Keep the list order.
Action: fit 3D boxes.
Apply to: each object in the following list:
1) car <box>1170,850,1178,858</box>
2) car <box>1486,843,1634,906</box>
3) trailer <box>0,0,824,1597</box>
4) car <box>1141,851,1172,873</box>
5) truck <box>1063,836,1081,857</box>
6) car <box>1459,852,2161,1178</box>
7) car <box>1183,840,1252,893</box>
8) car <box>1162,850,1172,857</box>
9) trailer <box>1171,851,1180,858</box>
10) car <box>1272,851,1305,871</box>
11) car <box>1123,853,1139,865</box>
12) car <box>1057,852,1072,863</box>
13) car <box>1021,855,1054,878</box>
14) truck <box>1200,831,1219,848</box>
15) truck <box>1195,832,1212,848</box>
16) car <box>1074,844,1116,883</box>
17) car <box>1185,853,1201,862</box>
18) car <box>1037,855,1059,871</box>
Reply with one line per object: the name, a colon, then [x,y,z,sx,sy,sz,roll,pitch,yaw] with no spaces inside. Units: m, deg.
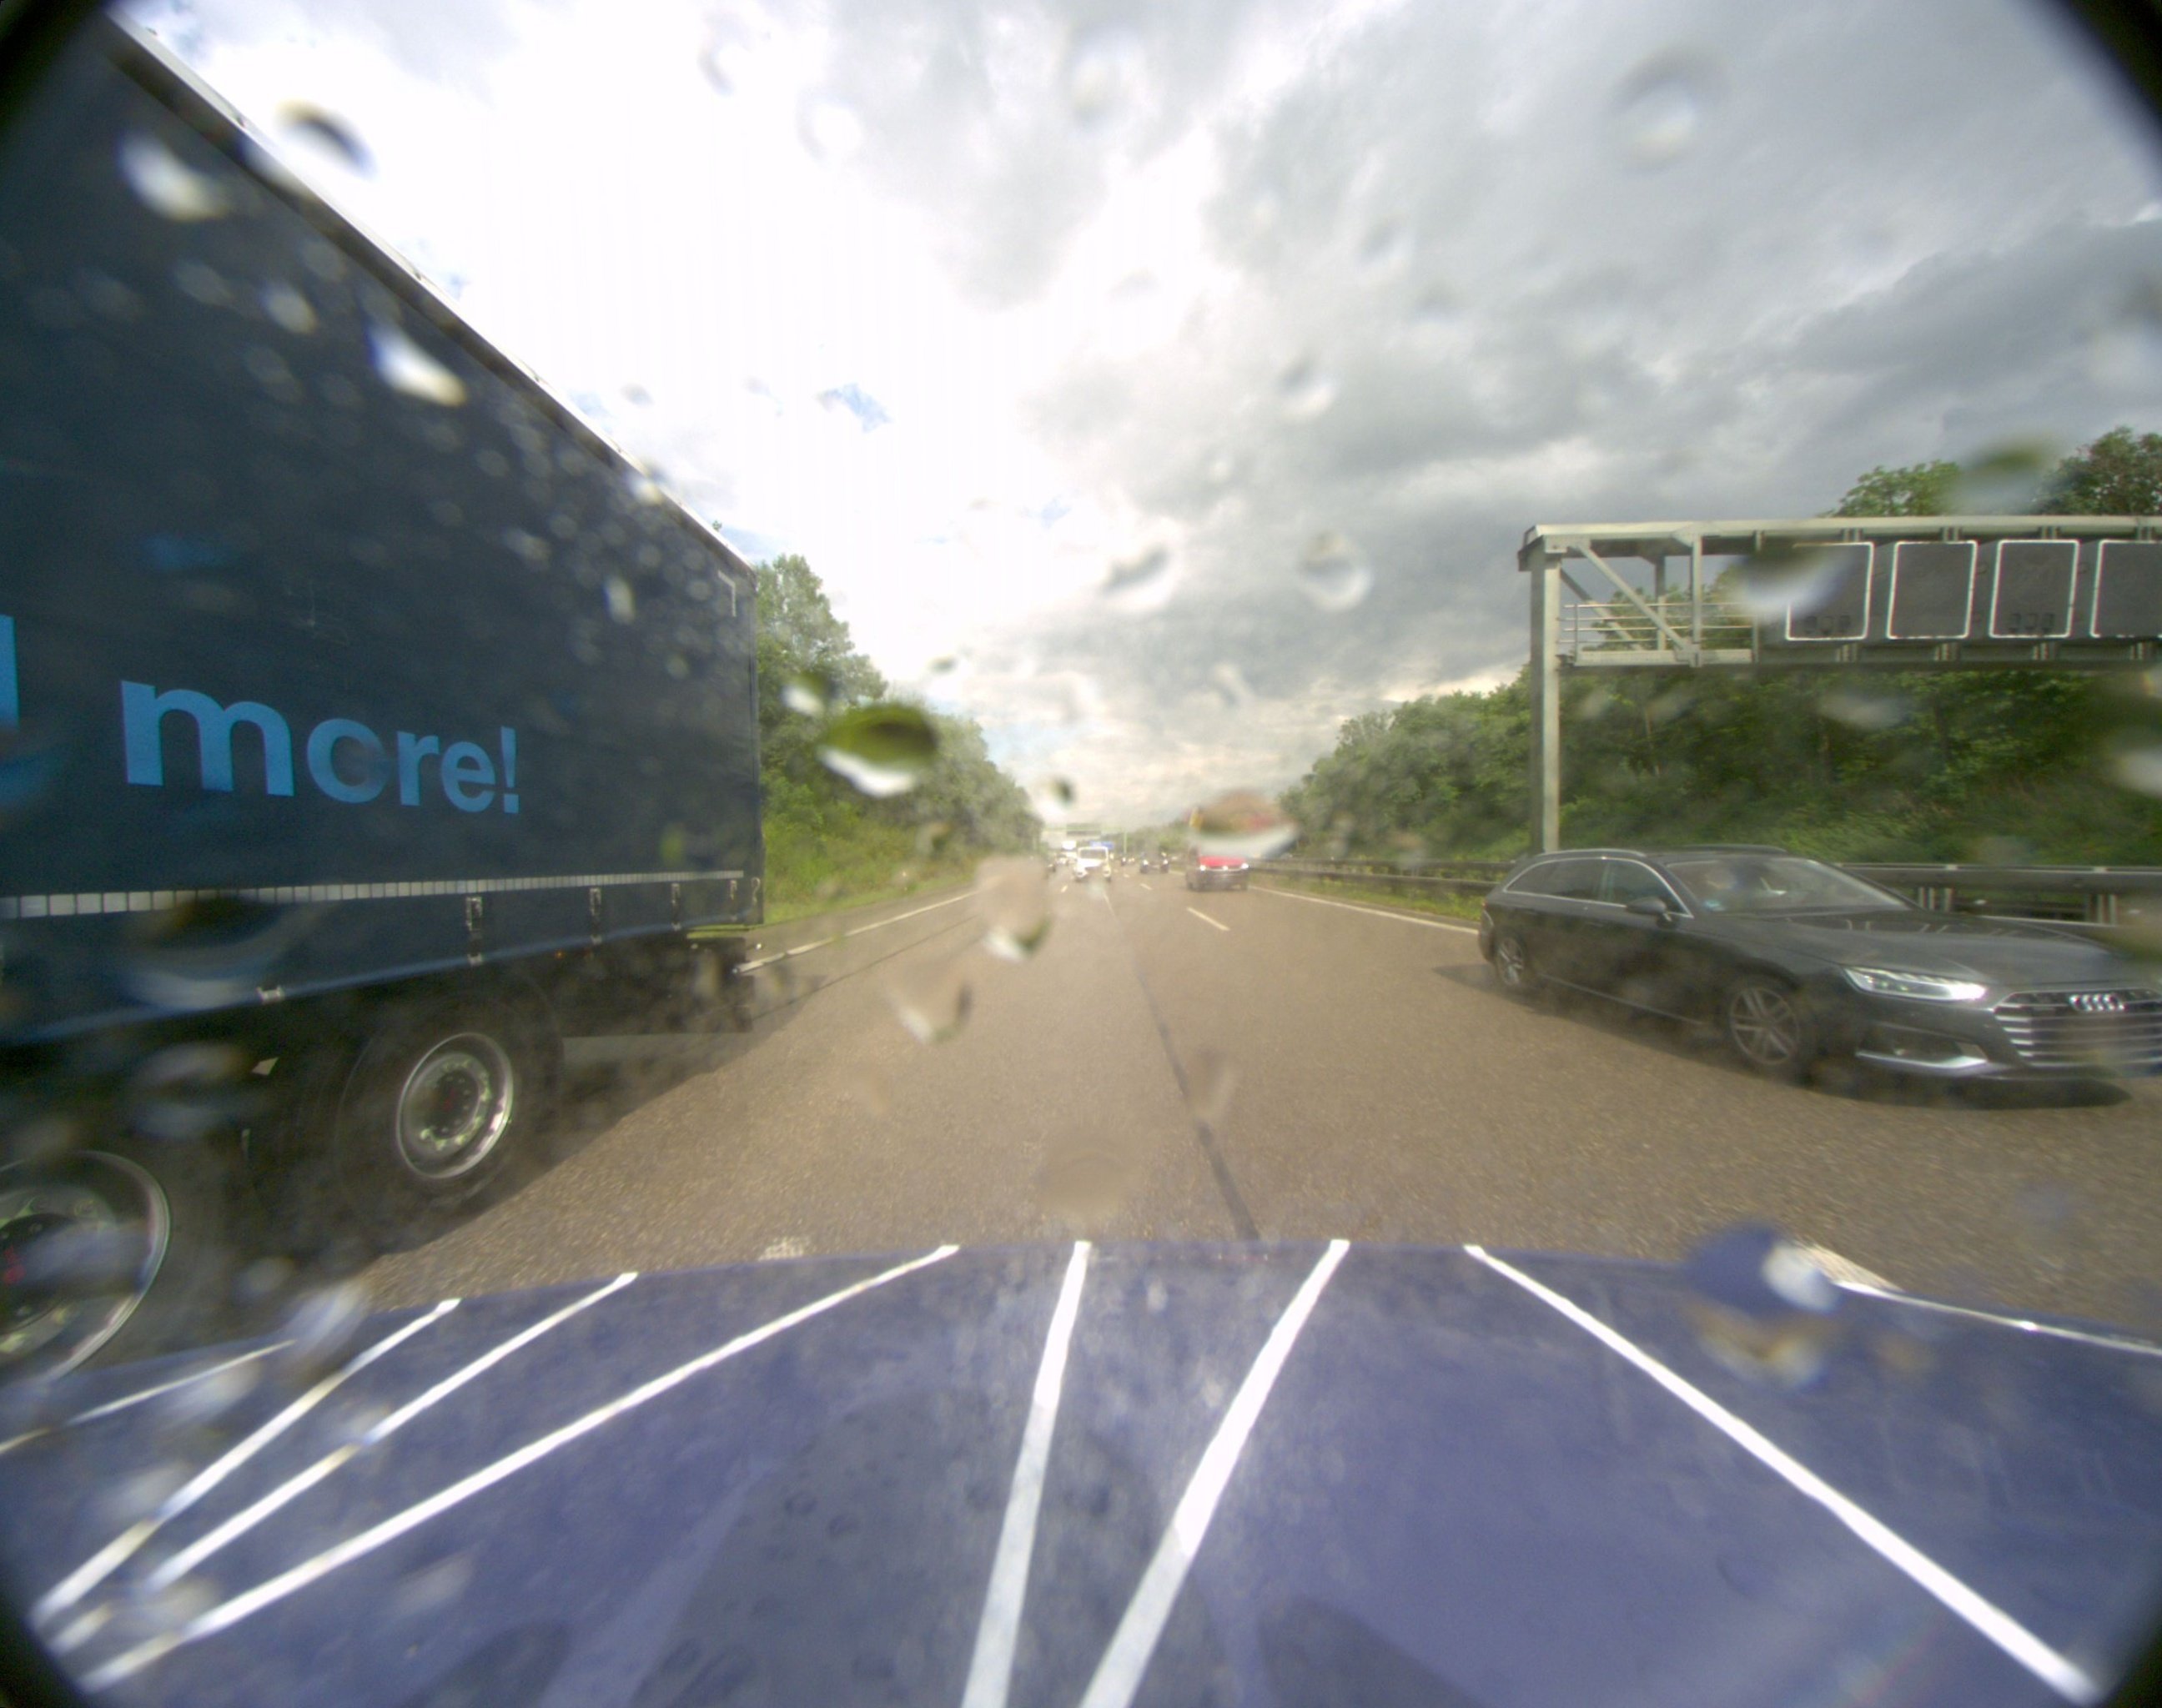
car: [23.696,-0.054,193.385,1.589,1.816,3.682,-2,1,1]
car: [13.975,0.533,22.476,1.771,1.653,4.112,-2,1,1]
trailer: [-3.877,-0.222,0.133,2.641,3.972,14.063,-2,1,0]
car: [5.756,0.578,58.477,2.009,1.488,4.839,-2,1,2]
truck: [-1.612,-1.395,142.905,3.064,3.827,8.799,0,0,1]
car: [5.010,0.743,5.918,1.798,1.410,4.839,-2,1,2]
car: [5.279,0.440,30.052,1.926,1.855,4.839,-2,1,2]
car: [20.170,-0.118,179.085,1.859,1.653,4.236,-2,1,1]
trailer: [23.641,0.073,189.979,1.589,1.653,3.879,-2,1,1]
car: [18.875,0.645,69.261,1.859,1.653,4.236,-2,1,1]
car: [6.356,0.581,97.192,1.798,1.410,4.839,-2,1,2]
car: [-2.319,0.514,108.399,1.798,1.410,4.839,-2,1,2]
car: [-2.916,0.829,51.889,1.798,1.410,4.839,-2,1,2]
truck: [36.642,-4.021,217.202,3.622,4.693,11.874,-2,1,2]
truck: [37.787,-4.226,235.246,3.622,4.693,11.874,-2,1,2]
car: [0.814,0.460,43.246,2.124,1.988,5.982,-2,1,2]
car: [15.953,0.472,108.314,1.830,1.121,4.000,-2,1,1]
car: [-3.172,0.894,74.413,1.798,1.410,4.839,-2,1,2]
